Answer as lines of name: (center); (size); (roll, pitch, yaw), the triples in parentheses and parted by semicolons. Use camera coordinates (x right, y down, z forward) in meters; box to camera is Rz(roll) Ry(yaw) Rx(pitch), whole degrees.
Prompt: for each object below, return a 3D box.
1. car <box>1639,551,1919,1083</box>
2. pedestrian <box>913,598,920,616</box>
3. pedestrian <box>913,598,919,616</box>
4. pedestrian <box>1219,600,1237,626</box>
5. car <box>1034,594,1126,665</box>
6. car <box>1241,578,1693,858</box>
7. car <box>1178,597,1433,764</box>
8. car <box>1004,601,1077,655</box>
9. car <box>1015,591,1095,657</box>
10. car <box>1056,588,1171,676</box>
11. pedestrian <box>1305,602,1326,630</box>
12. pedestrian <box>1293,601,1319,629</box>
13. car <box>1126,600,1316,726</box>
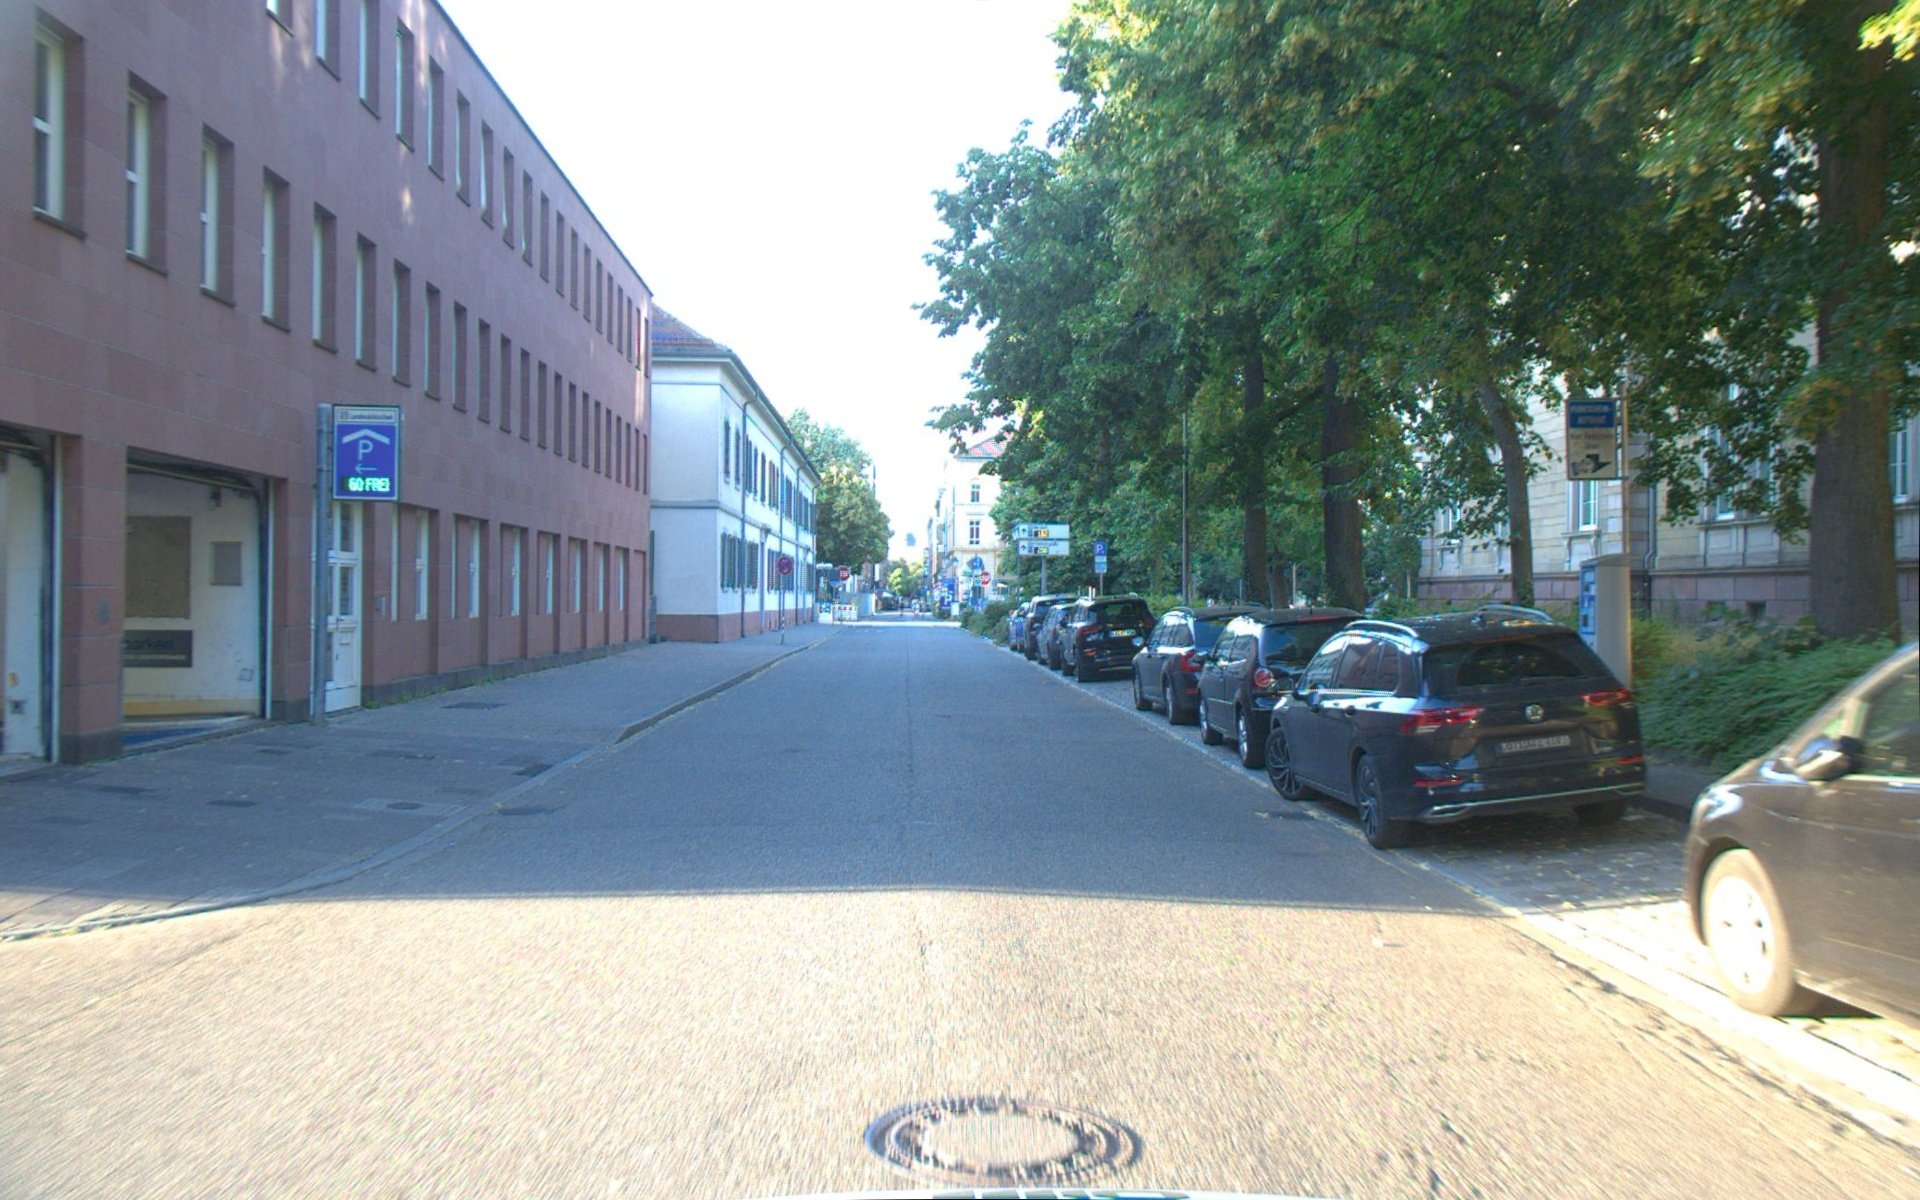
car: (3.943, 0.692, 5.103); (1.689, 1.712, 4.497); (0, -1, -2)
pedestrian: (-4.061, 0.670, 154.793); (0.644, 1.645, 0.745); (0, 0, -2)
pedestrian: (-4.165, 0.676, 156.731); (0.644, 1.664, 0.745); (0, 0, -2)
pedestrian: (12.758, 0.628, 78.787); (0.649, 1.212, 0.794); (0, -1, 25)
car: (2.773, 0.684, 38.917); (1.689, 1.565, 4.187); (0, -1, -2)
car: (3.477, 0.749, 12.353); (1.690, 1.560, 4.620); (-4, -1, -2)
car: (3.530, 0.783, 17.665); (1.689, 1.560, 4.187); (0, -1, -2)
car: (2.432, 0.836, 50.989); (1.690, 1.514, 4.607); (-3, 0, -3)
car: (2.518, 0.654, 44.828); (1.689, 1.680, 4.710); (0, -1, -2)
car: (3.071, 0.642, 33.898); (1.771, 1.680, 4.416); (0, -1, -2)
pedestrian: (17.647, 0.780, 82.044); (0.747, 1.371, 0.784); (0, -1, -18)
pedestrian: (17.027, 0.742, 81.385); (0.902, 1.371, 0.880); (0, -1, -18)
car: (3.422, 0.798, 22.493); (1.700, 1.533, 4.519); (0, -1, -2)
